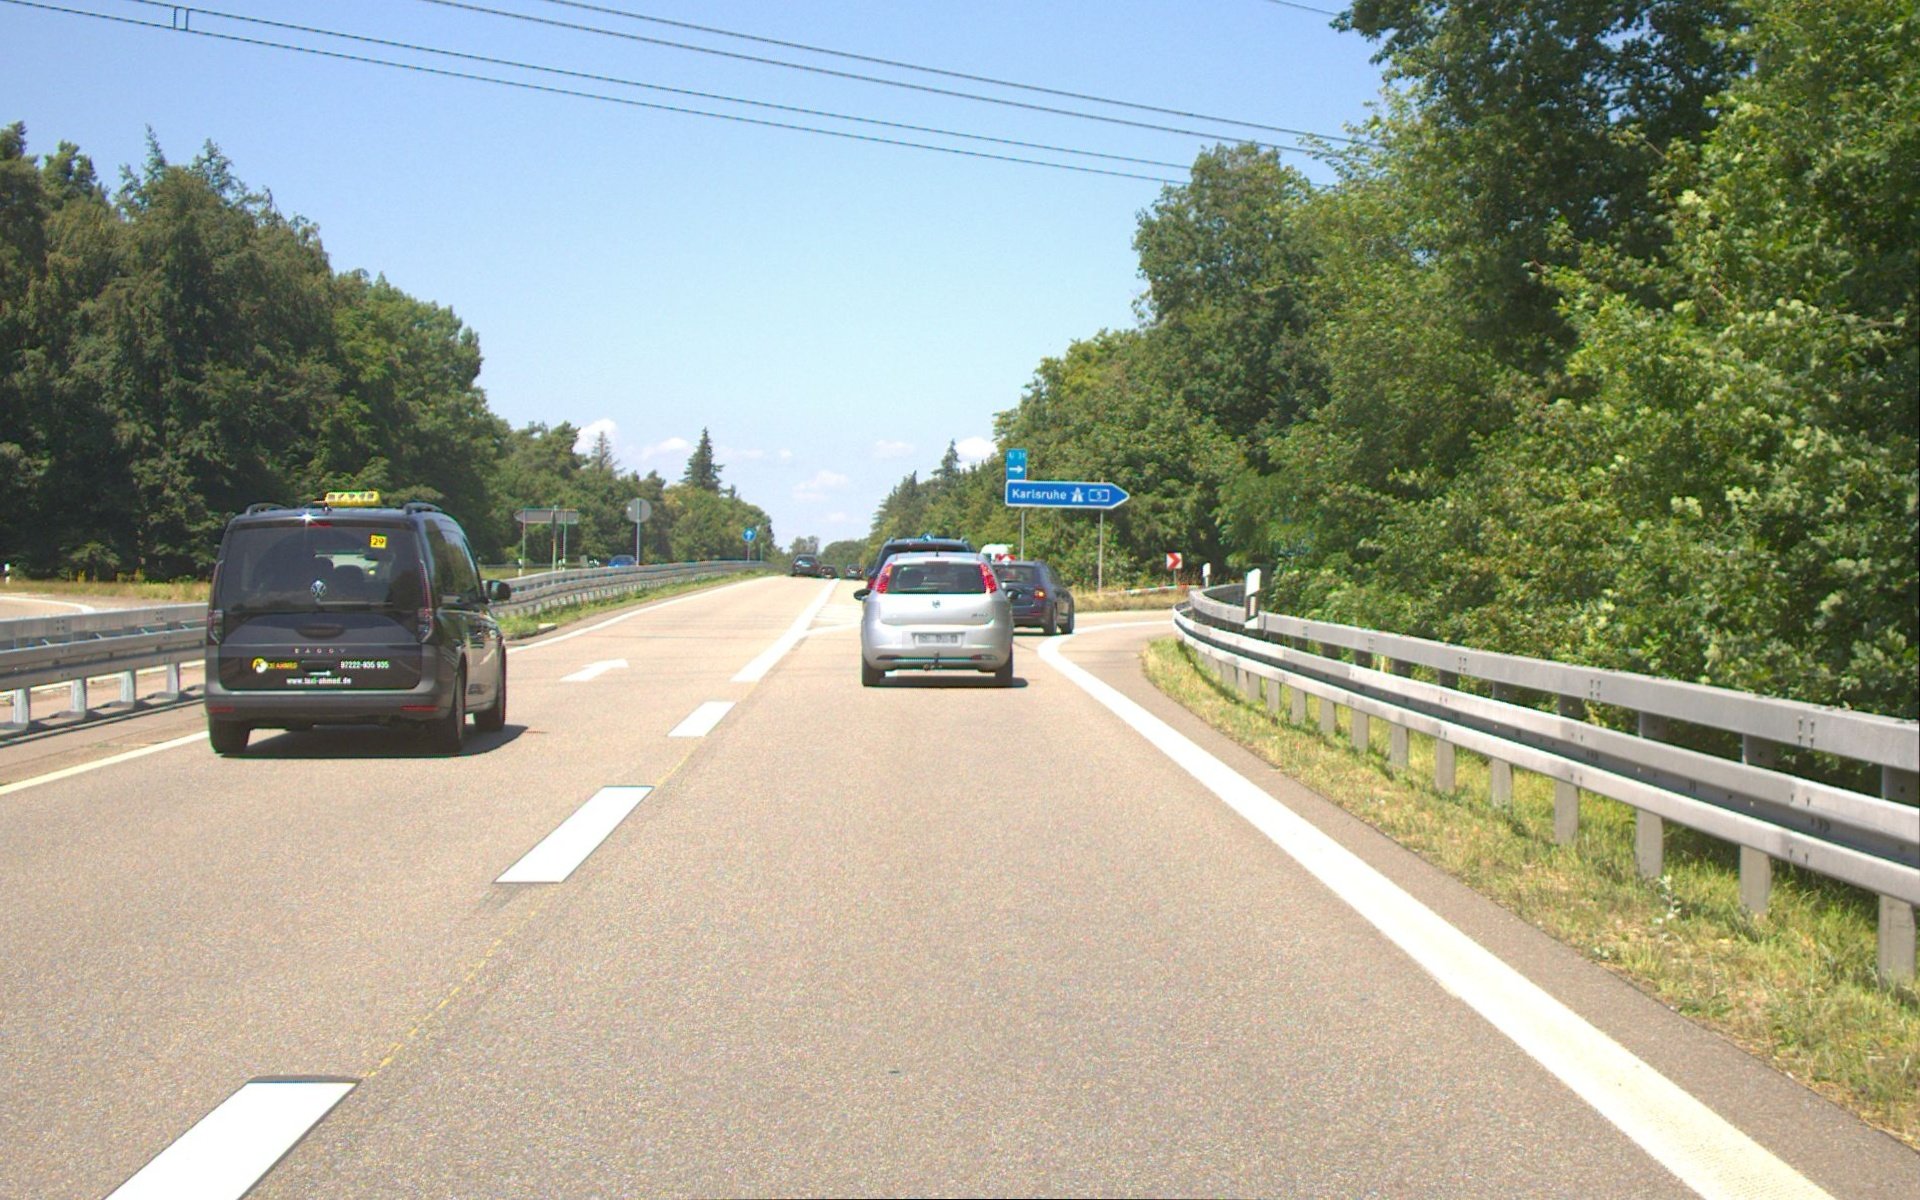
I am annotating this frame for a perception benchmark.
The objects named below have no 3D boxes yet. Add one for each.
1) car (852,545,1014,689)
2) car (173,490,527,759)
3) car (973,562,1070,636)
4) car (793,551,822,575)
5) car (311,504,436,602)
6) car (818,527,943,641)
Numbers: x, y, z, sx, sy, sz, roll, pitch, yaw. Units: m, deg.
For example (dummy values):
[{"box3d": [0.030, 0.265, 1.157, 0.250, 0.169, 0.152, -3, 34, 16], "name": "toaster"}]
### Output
[{"box3d": [-0.344, 0.158, 38.606, 1.640, 1.463, 3.419, 3, 1, -3], "name": "car"}, {"box3d": [-4.613, 0.130, 26.822, 1.854, 1.880, 5.574, 0, 1, -1], "name": "car"}, {"box3d": [1.235, -0.048, 67.540, 1.640, 1.338, 3.573, 3, 1, 4], "name": "car"}, {"box3d": [-9.840, -2.419, 222.337, 1.712, 1.466, 3.574, 3, 1, -1], "name": "car"}, {"box3d": [-16.515, -1.333, 97.225, 2.524, 2.609, 7.186, -1, 1, -2], "name": "car"}, {"box3d": [-1.207, -0.269, 53.646, 1.640, 1.648, 3.574, 3, 1, 3], "name": "car"}]
